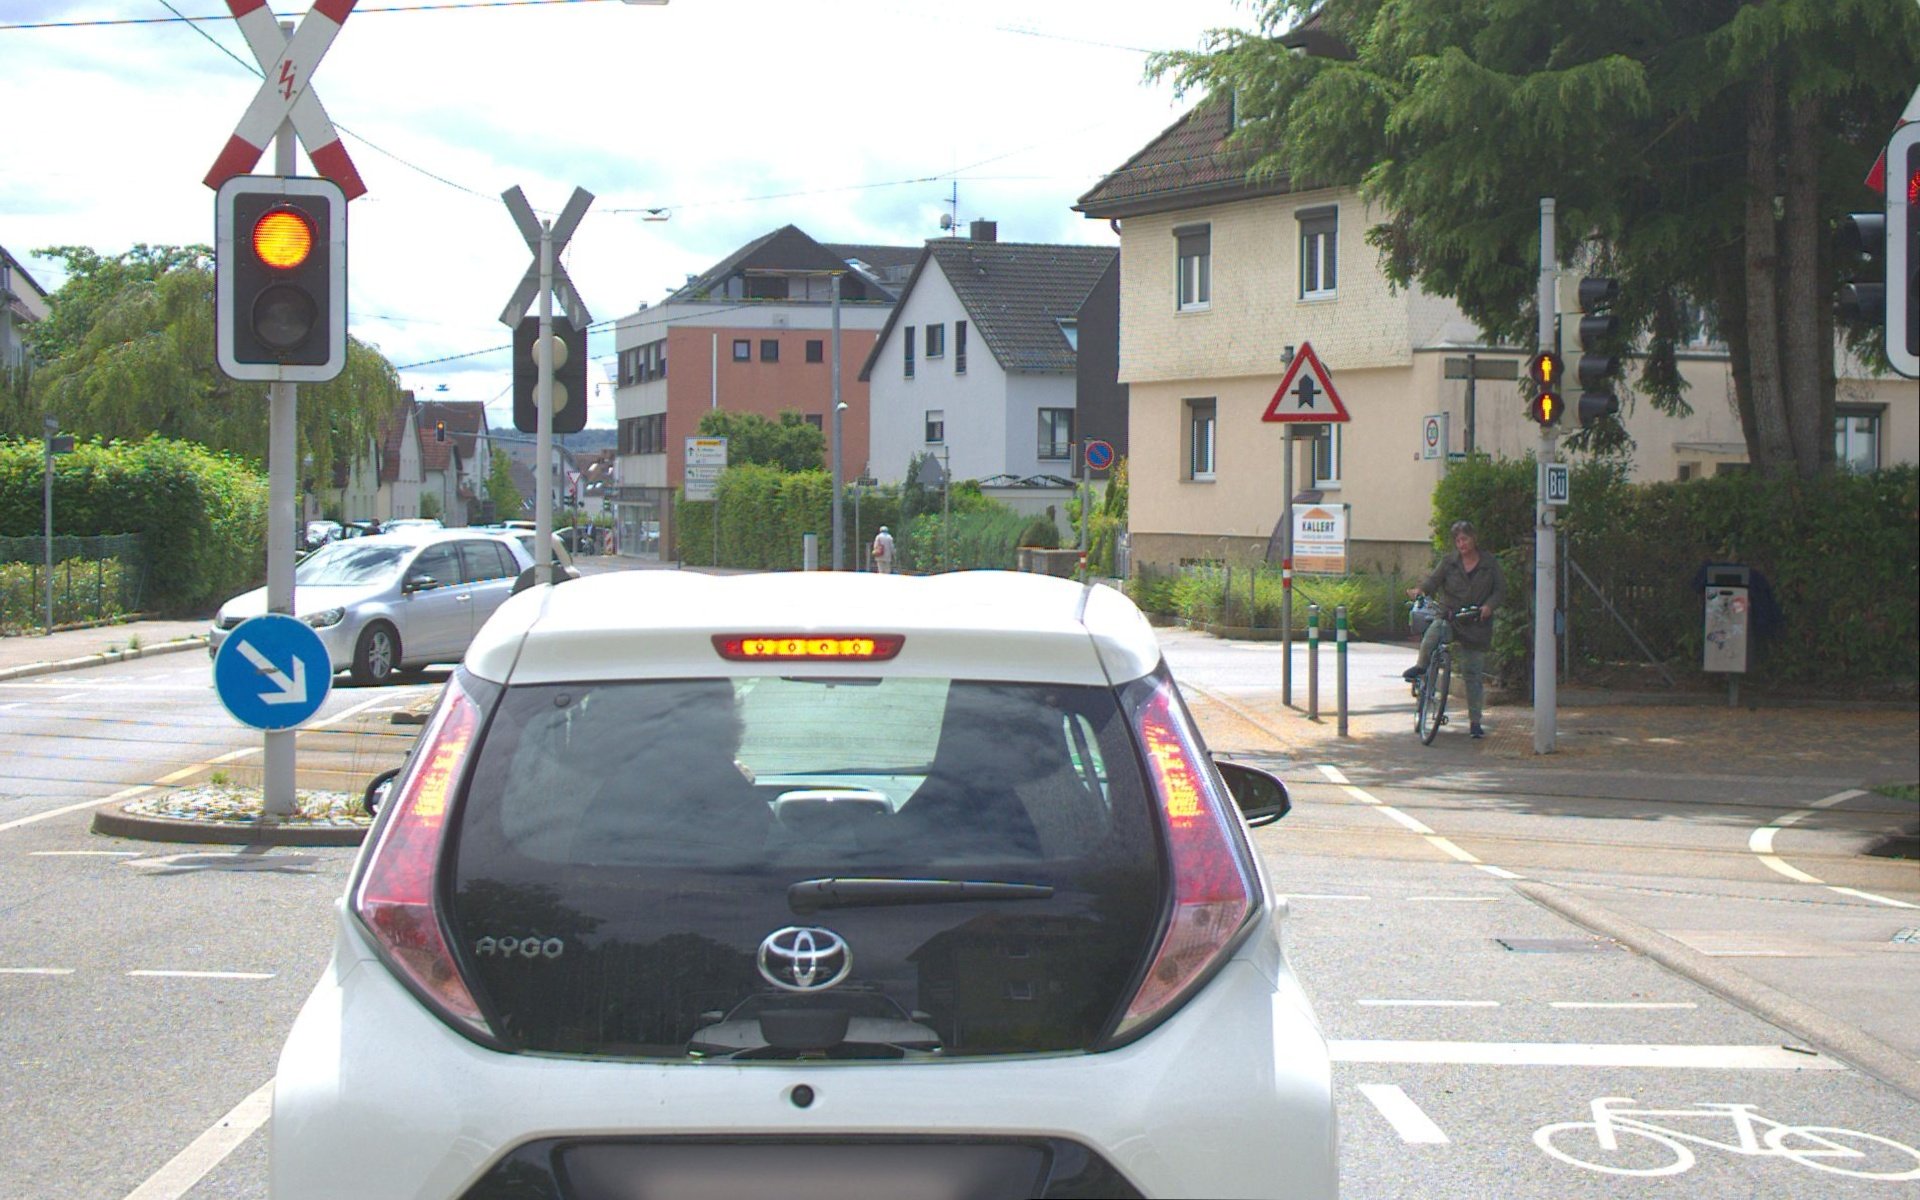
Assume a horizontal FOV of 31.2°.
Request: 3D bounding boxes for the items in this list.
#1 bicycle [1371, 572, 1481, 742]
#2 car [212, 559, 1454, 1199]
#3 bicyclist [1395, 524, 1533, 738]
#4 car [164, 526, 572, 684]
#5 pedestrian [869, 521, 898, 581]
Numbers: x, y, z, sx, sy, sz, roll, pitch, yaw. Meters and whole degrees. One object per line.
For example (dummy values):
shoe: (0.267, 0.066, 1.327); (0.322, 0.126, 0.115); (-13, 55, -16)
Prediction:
bicycle: (3.539, 0.420, 26.211); (0.457, 1.168, 1.480); (-2, 4, -6)
car: (-0.298, 0.664, 6.646); (1.721, 1.437, 3.709); (1, 1, -4)
bicyclist: (3.833, 0.222, 26.172); (0.840, 1.548, 0.756); (-2, 3, -6)
car: (-5.866, 0.032, 34.542); (1.908, 1.436, 4.092); (2, 1, 28)
pedestrian: (-2.039, -1.300, 91.685); (0.726, 1.571, 0.803); (2, 1, 0)
